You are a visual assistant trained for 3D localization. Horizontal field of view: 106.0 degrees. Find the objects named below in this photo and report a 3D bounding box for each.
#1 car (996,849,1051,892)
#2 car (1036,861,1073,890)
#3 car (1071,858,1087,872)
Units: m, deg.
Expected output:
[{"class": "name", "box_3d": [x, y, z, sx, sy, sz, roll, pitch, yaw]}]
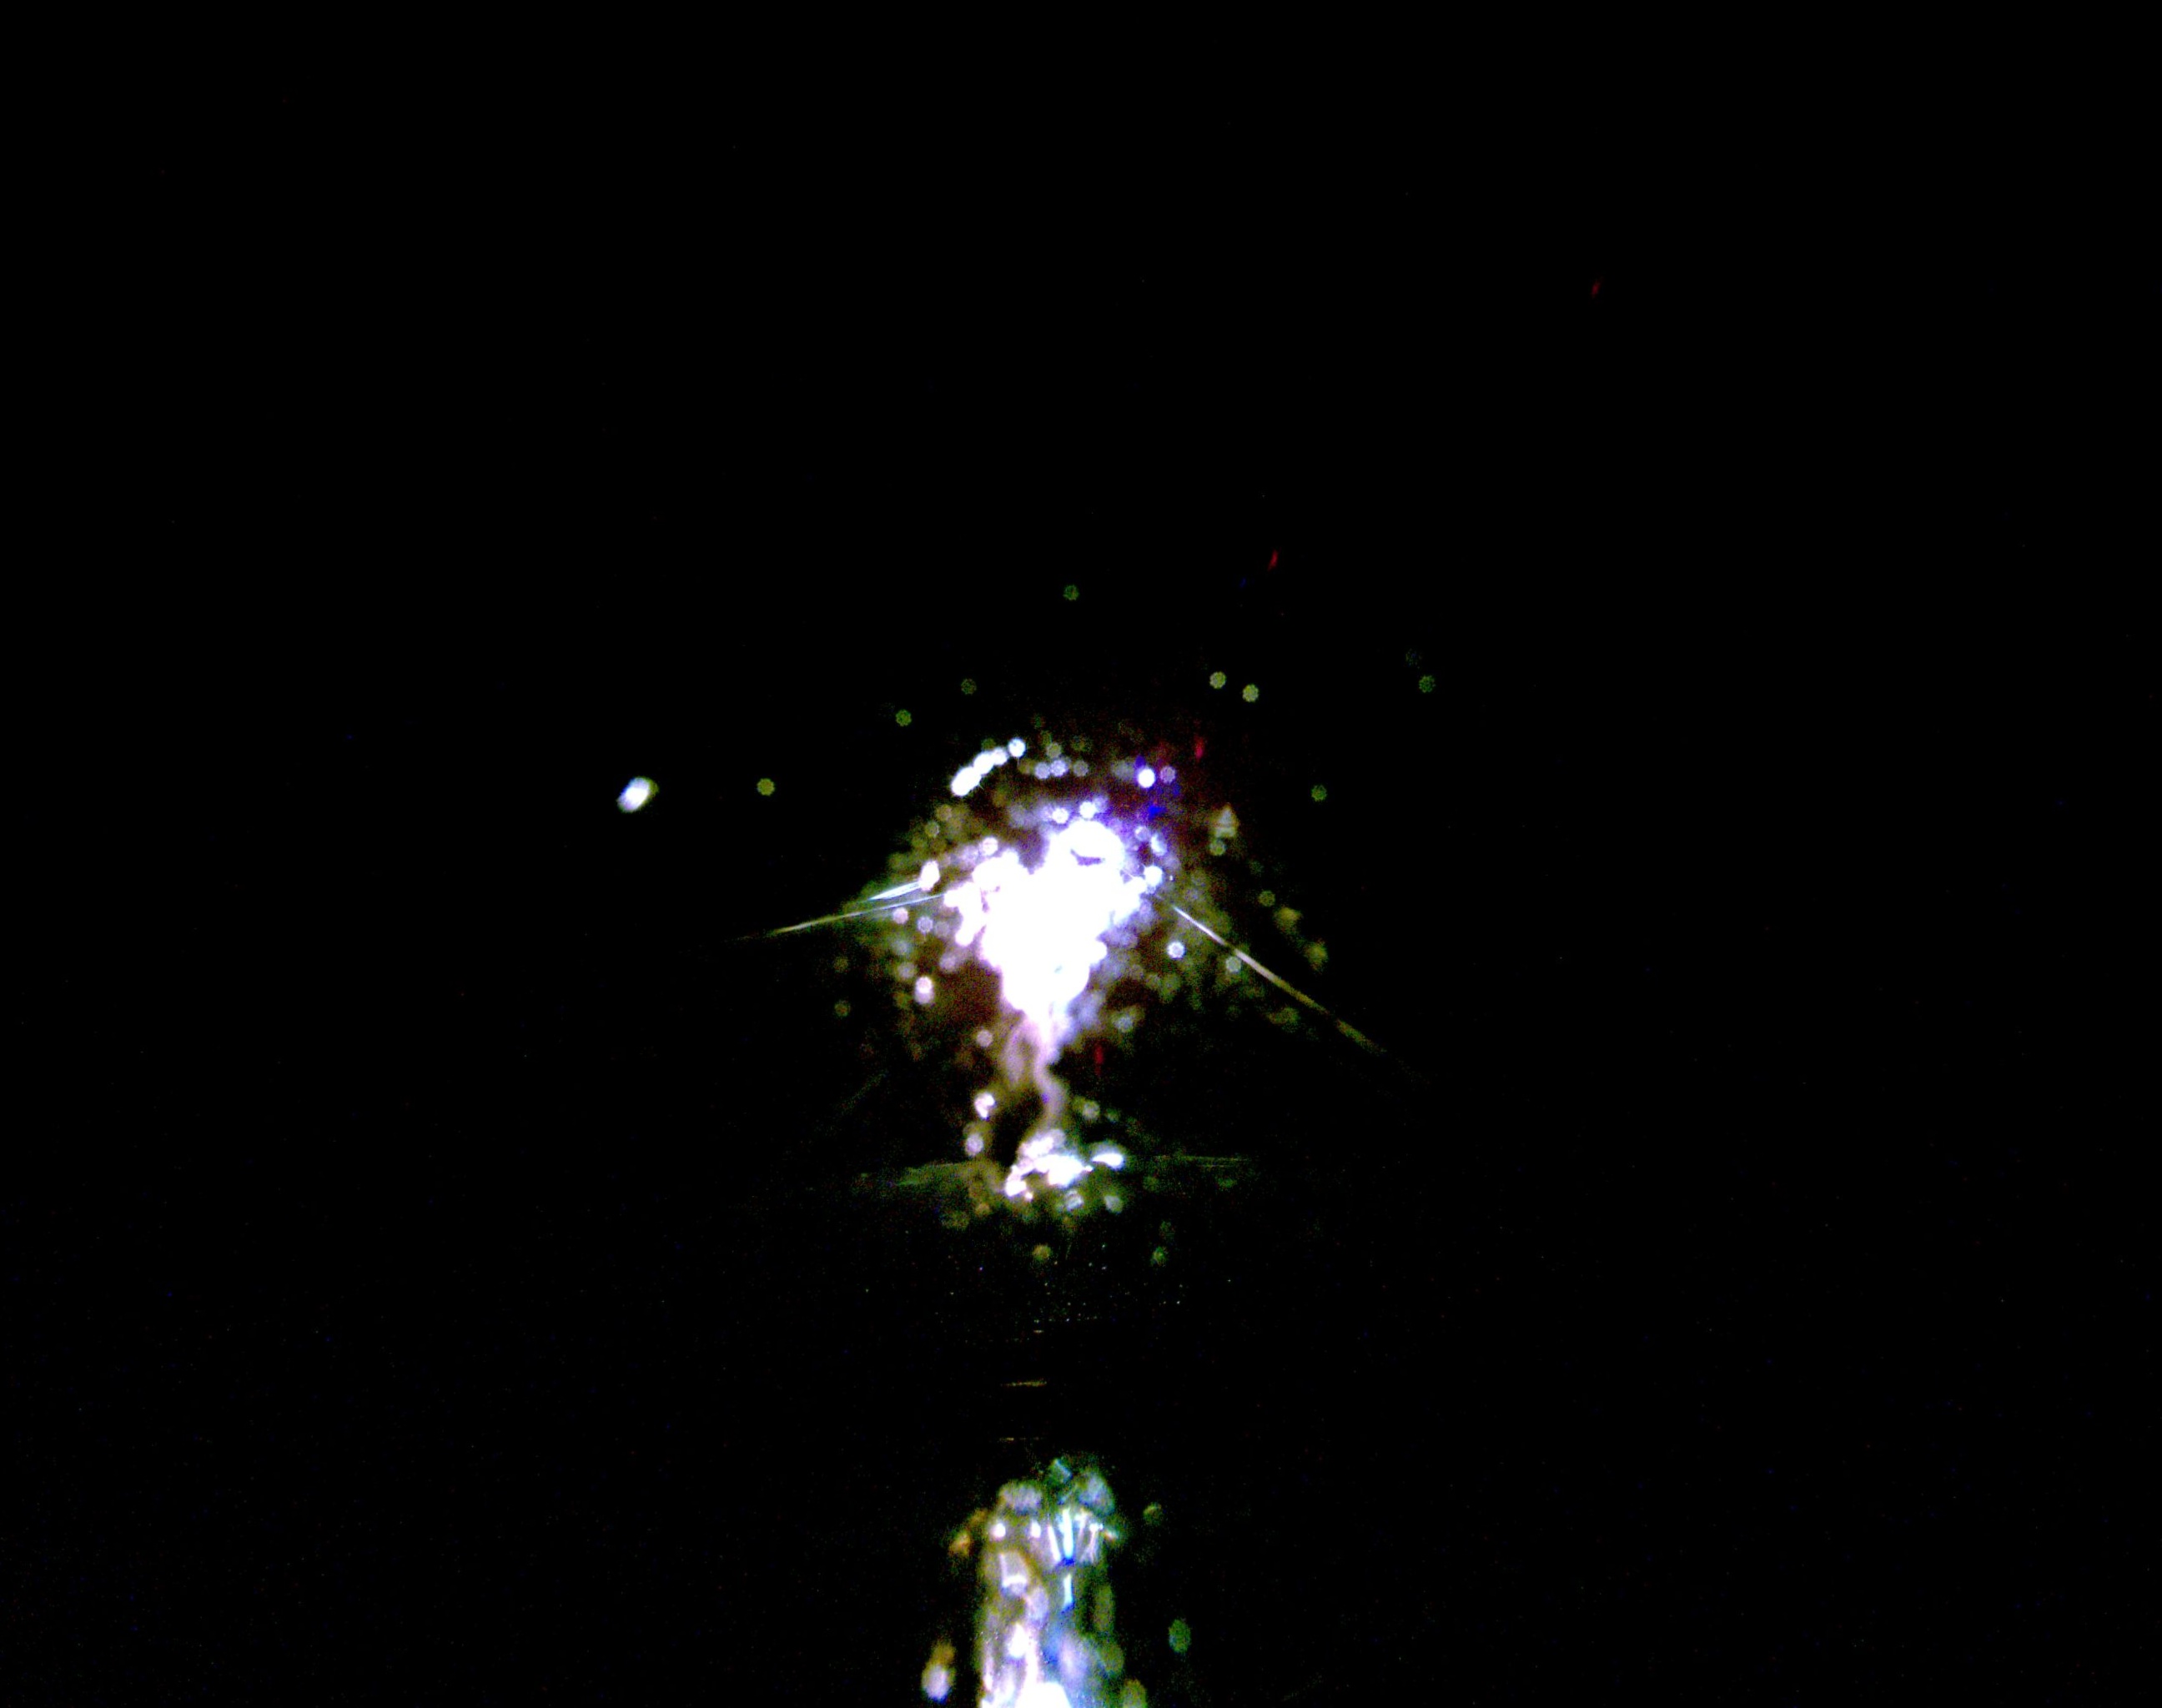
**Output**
[{"class": "car", "box_3d": [-2.421, 0.665, 35.177, 1.881, 1.671, 4.002, -2, 0, 2]}, {"class": "car", "box_3d": [-1.559, 1.254, 49.617, 1.881, 1.586, 4.002, -2, 0, 2]}, {"class": "car", "box_3d": [-0.241, 1.201, 92.752, 1.695, 1.467, 4.041, -2, 0, 0]}]
